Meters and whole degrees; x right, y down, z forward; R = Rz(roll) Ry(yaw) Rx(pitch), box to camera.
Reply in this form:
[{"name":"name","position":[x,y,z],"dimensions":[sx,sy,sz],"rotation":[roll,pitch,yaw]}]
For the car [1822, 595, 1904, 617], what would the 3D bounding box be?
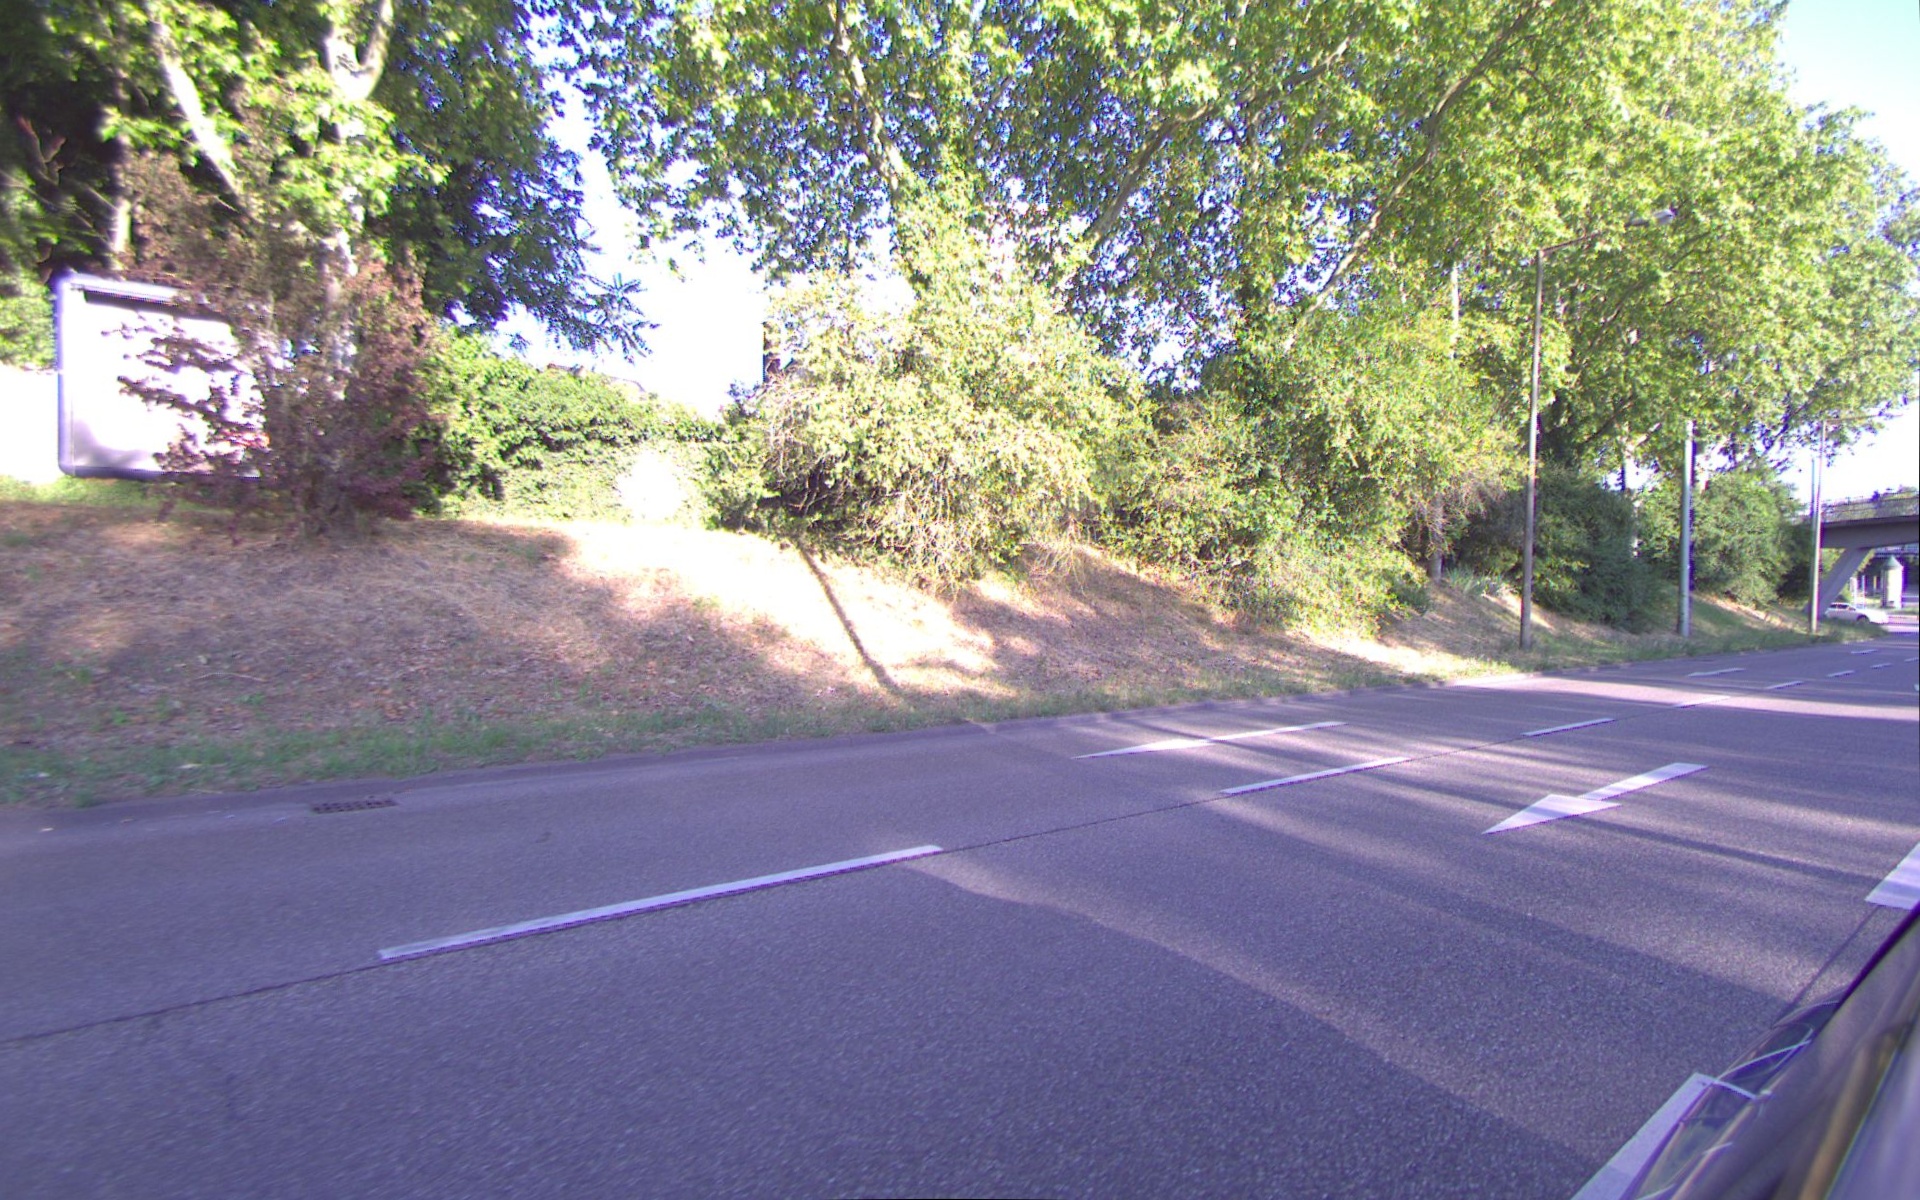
[{"name":"car","position":[64.561,0.409,72.424],"dimensions":[1.590,1.512,4.037],"rotation":[0,0,-24]}]
